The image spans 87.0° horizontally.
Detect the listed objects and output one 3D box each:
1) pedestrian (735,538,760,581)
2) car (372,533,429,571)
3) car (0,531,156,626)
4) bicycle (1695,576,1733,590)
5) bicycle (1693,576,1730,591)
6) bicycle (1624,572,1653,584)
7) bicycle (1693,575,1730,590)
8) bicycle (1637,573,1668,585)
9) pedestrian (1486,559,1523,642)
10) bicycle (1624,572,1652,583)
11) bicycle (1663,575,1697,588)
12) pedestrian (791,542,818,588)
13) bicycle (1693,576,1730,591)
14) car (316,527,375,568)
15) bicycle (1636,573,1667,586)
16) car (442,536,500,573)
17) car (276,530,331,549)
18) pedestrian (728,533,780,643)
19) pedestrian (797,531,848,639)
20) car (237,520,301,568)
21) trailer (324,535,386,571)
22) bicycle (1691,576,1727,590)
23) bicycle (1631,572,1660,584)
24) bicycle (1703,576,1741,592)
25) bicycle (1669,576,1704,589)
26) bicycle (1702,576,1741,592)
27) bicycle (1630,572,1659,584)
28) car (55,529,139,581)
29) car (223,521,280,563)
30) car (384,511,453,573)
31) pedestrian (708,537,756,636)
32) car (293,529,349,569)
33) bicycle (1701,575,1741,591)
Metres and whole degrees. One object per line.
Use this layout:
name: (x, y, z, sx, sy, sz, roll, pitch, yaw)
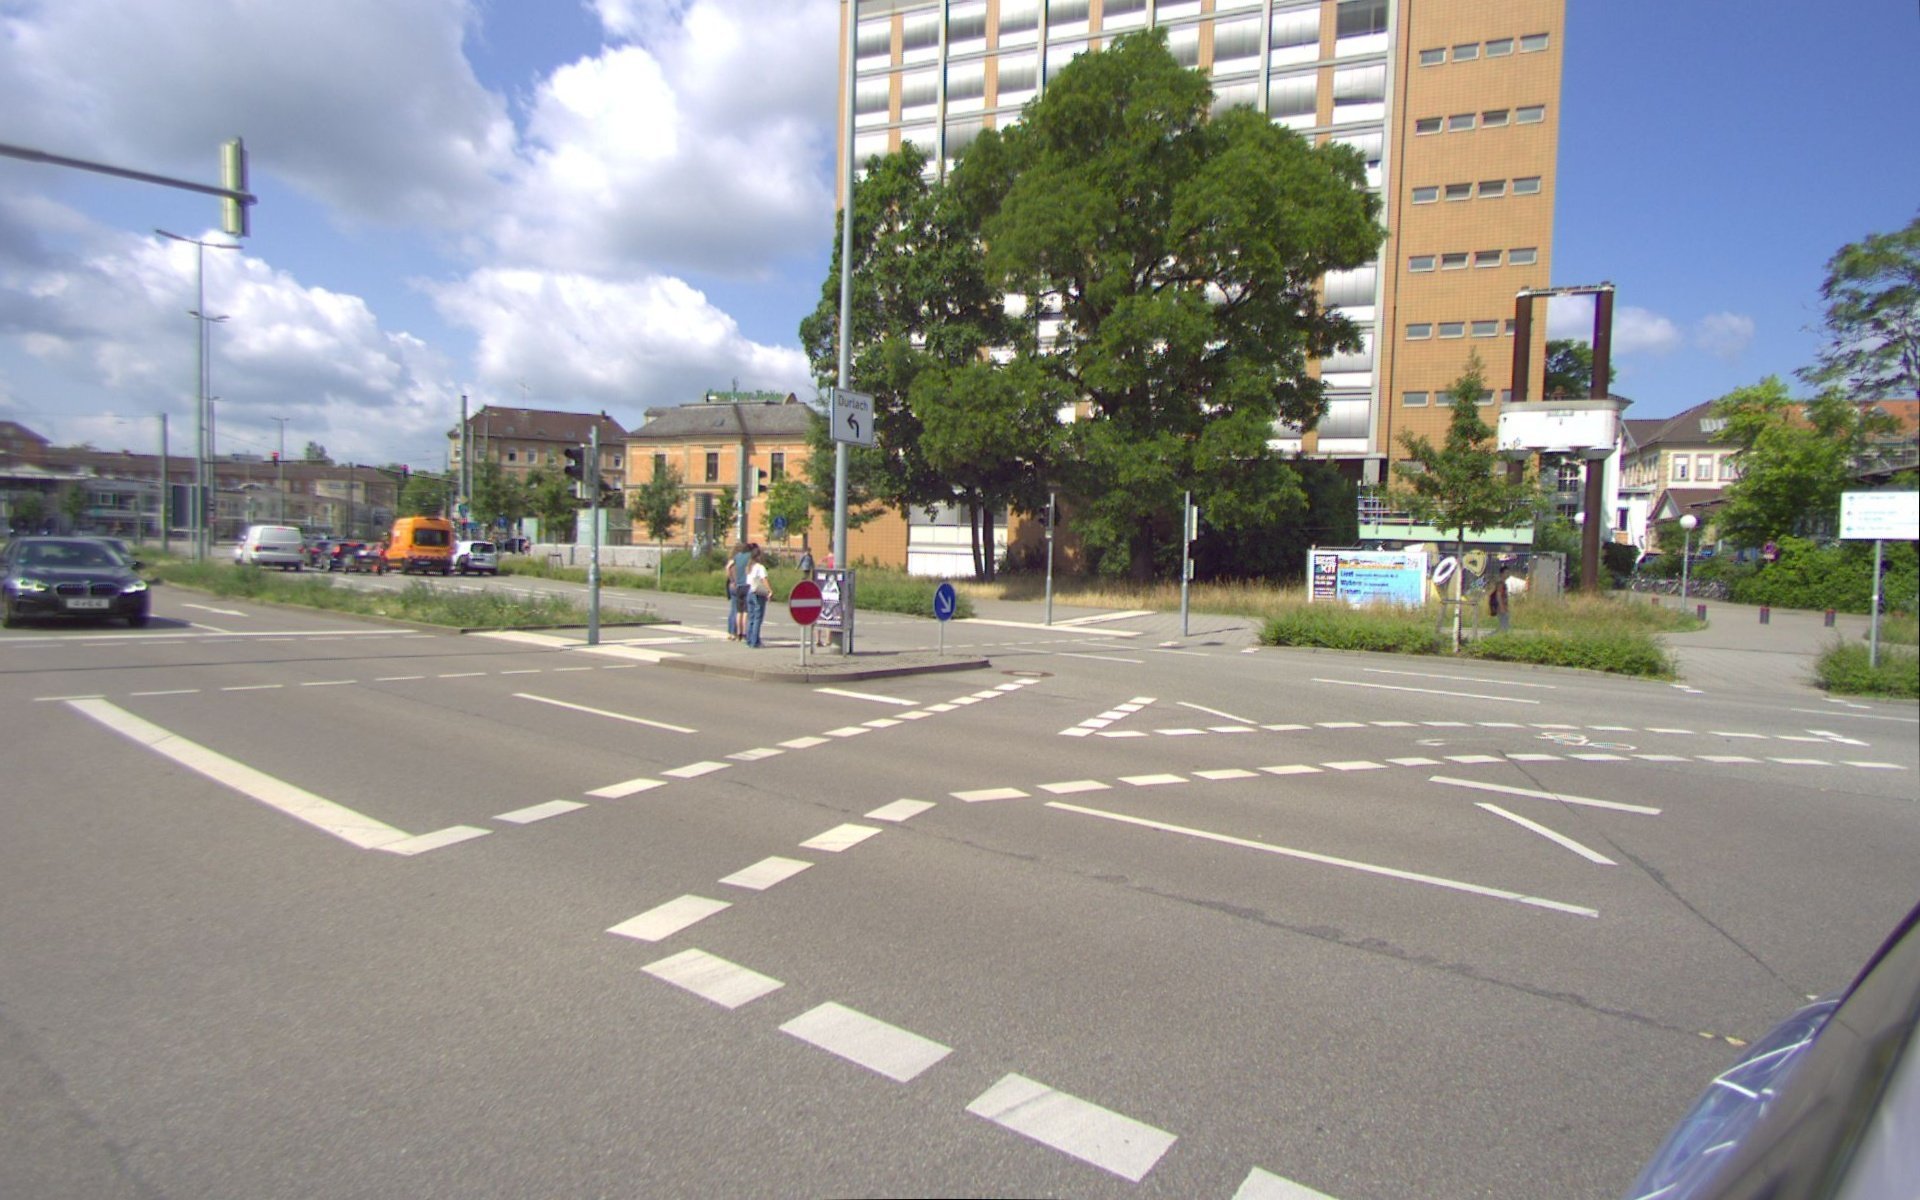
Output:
pedestrian: (-8.929, -1.699, 42.589, 0.776, 1.805, 0.666, 0, 3, -40)
car: (-31.132, -2.681, 56.236, 1.962, 1.962, 4.636, -1, 4, -39)
car: (-15.242, -0.436, 17.123, 4.208, 1.405, 1.772, 4, 3, 40)
bicycle: (40.645, -0.925, 54.555, 1.546, 0.728, 0.503, 3, 3, 30)
bicycle: (41.372, -0.923, 55.741, 1.546, 0.728, 0.503, 3, 3, 30)
bicycle: (46.257, -1.522, 68.983, 1.546, 0.728, 0.503, 3, 3, 30)
bicycle: (41.006, -0.960, 55.216, 1.546, 0.728, 0.503, 3, 3, 30)
bicycle: (44.802, -1.349, 65.491, 1.546, 0.728, 0.503, 3, 3, 30)
pedestrian: (11.727, -0.003, 21.792, 0.574, 1.754, 0.654, 3, 3, 34)
bicycle: (47.144, -1.562, 70.423, 1.546, 0.728, 0.503, 3, 3, 30)
bicycle: (42.760, -1.093, 60.118, 1.546, 0.728, 0.503, 3, 3, 30)
pedestrian: (-6.265, -1.415, 40.782, 0.665, 1.805, 0.778, 4, 3, 45)
bicycle: (41.755, -0.917, 56.223, 1.546, 0.728, 0.503, 3, 3, 30)
car: (-29.387, -2.511, 48.327, 1.964, 1.848, 3.999, -1, 4, -38)
bicycle: (44.355, -1.310, 64.941, 1.546, 0.728, 0.503, 3, 3, 30)
car: (-25.431, -2.398, 52.575, 1.963, 1.816, 3.999, -1, 4, -37)
car: (-60.717, -5.609, 93.599, 1.715, 1.659, 3.959, 3, 3, 30)
pedestrian: (-3.390, -0.204, 16.642, 0.620, 1.754, 0.519, 3, 3, 36)
pedestrian: (-2.310, -0.263, 16.964, 0.620, 1.754, 0.519, 3, 3, 36)
car: (-30.656, -2.508, 44.830, 1.976, 1.990, 4.636, -1, 4, -39)
trailer: (-27.290, -2.131, 45.597, 1.964, 1.495, 3.999, -1, 4, -38)
bicycle: (42.112, -0.955, 56.927, 1.546, 0.728, 0.503, 3, 3, 30)
bicycle: (45.981, -1.464, 67.867, 1.546, 0.728, 0.503, 3, 3, 30)
bicycle: (40.089, -0.849, 53.258, 1.546, 0.728, 0.503, 3, 3, 30)
bicycle: (42.400, -1.029, 59.085, 1.546, 0.728, 0.503, 3, 3, 30)
bicycle: (39.741, -0.844, 52.805, 1.546, 0.728, 0.503, 3, 3, 30)
bicycle: (47.003, -1.517, 69.500, 1.546, 0.728, 0.503, 3, 3, 30)
car: (-27.785, -1.472, 32.556, 4.050, 1.498, 1.640, 4, 1, 44)
car: (-35.085, -2.893, 50.087, 1.962, 1.962, 4.636, -1, 4, -39)
car: (-26.262, -2.827, 49.016, 2.099, 2.814, 4.636, -1, 4, -39)
pedestrian: (-4.040, -0.251, 17.953, 0.620, 1.704, 0.519, 3, 3, 36)
car: (-33.757, -2.721, 53.453, 1.962, 1.962, 4.636, -1, 4, -39)
bicycle: (39.012, -0.875, 51.923, 1.546, 0.728, 0.503, 3, 3, 30)
